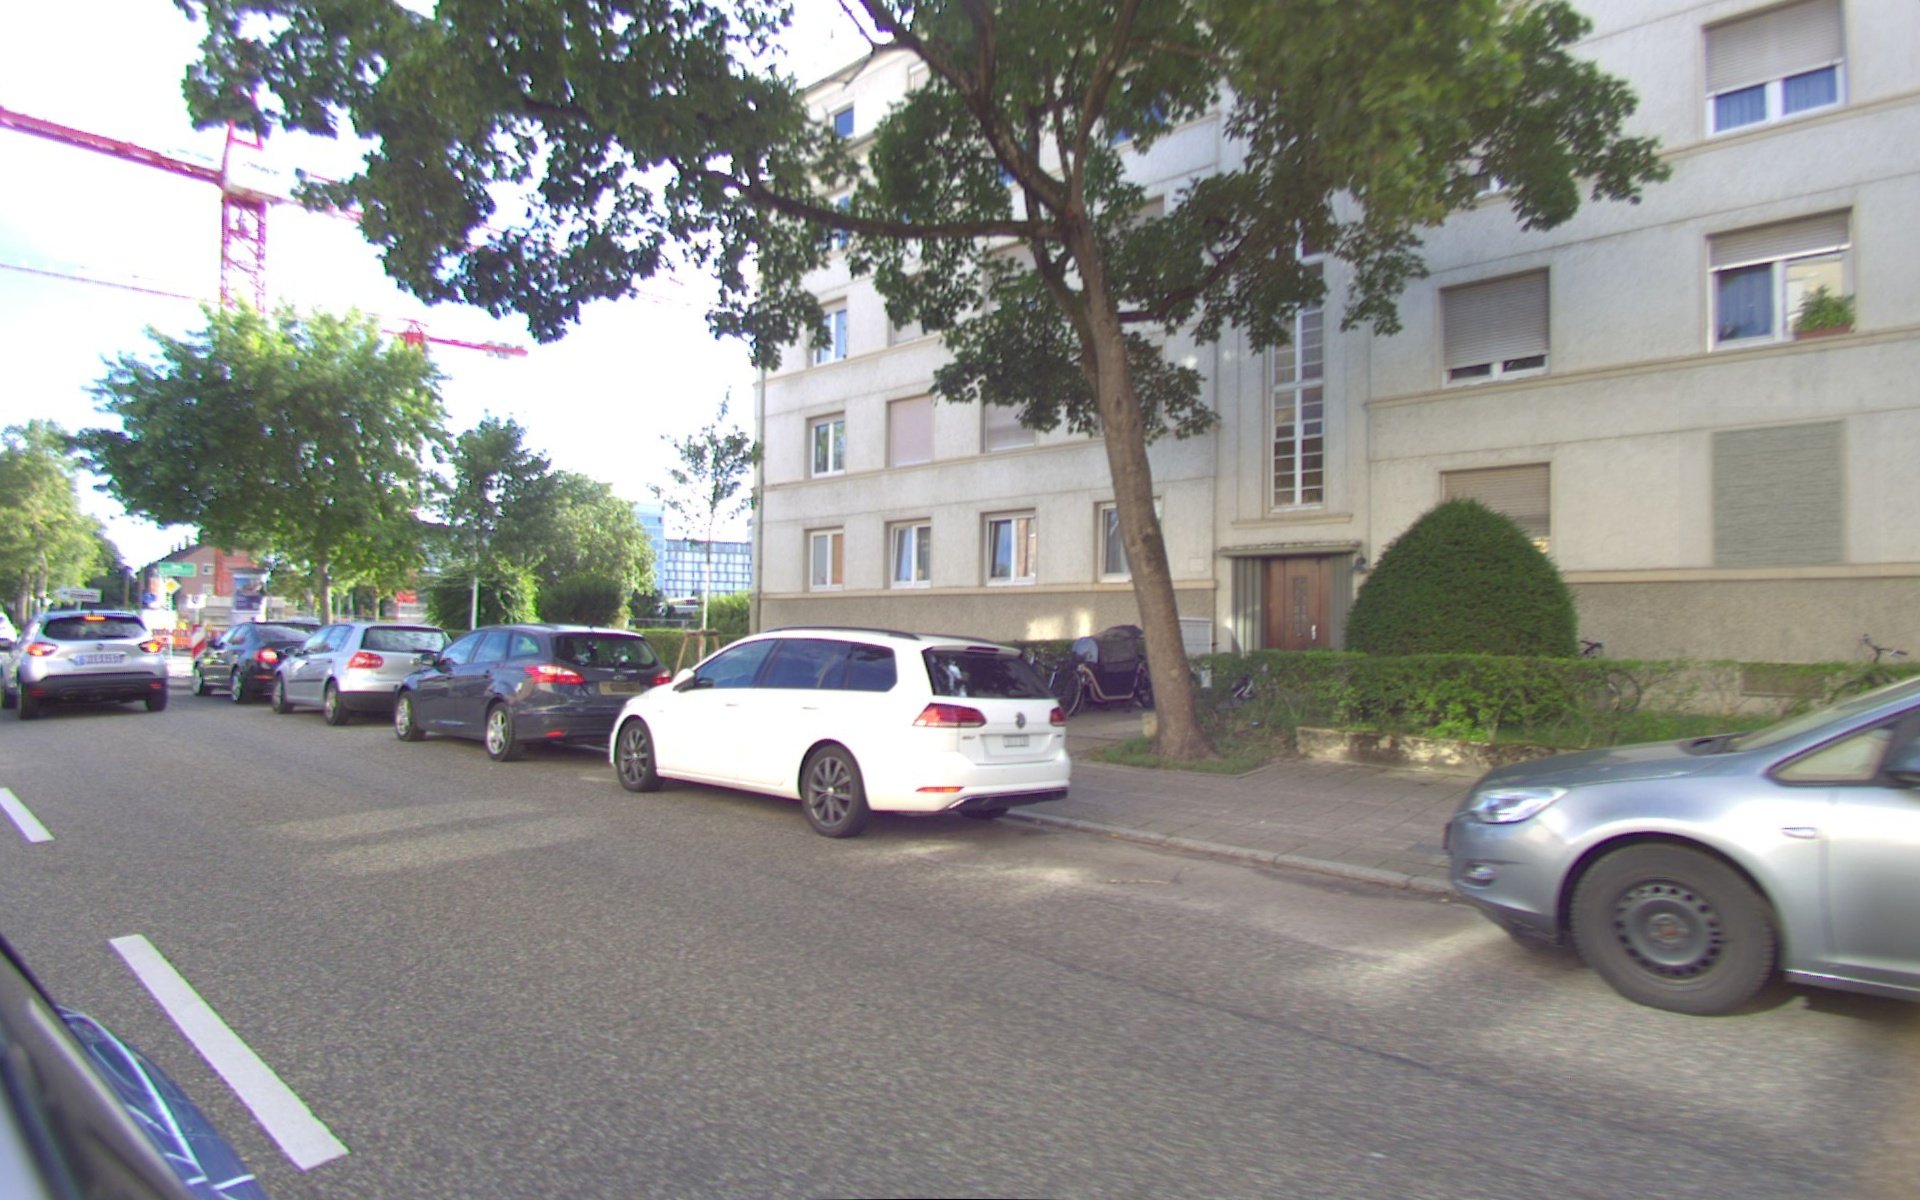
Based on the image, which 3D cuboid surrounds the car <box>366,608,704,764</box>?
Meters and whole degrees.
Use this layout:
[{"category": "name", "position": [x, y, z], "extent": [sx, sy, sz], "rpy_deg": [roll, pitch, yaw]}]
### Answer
[{"category": "car", "position": [-5.170, 0.898, 11.976], "extent": [4.682, 1.497, 1.835], "rpy_deg": [-1, -3, 42]}]

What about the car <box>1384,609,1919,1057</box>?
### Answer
[{"category": "car", "position": [4.268, 0.812, 3.720], "extent": [4.680, 1.497, 1.836], "rpy_deg": [-1, -4, 40]}]

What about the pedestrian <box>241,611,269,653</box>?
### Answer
[{"category": "pedestrian", "position": [-30.025, 1.375, 43.114], "extent": [0.775, 1.782, 0.734], "rpy_deg": [-1, -4, 41]}]

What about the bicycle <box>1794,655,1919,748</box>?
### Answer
[{"category": "bicycle", "position": [11.614, 1.247, 12.486], "extent": [2.022, 1.068, 0.627], "rpy_deg": [-1, -2, 41]}]

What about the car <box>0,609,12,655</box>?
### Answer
[{"category": "car", "position": [-37.412, 1.206, 38.344], "extent": [4.083, 1.682, 1.810], "rpy_deg": [-1, -2, 42]}]

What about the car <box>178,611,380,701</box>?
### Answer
[{"category": "car", "position": [-12.795, 1.021, 18.918], "extent": [4.417, 1.497, 1.907], "rpy_deg": [-1, -5, 40]}]

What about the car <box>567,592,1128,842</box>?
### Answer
[{"category": "car", "position": [-1.169, 0.823, 8.372], "extent": [4.797, 1.497, 1.835], "rpy_deg": [-1, -6, 42]}]

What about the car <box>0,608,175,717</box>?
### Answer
[{"category": "car", "position": [-13.989, 0.894, 16.033], "extent": [4.008, 1.513, 1.722], "rpy_deg": [-1, -1, 41]}]

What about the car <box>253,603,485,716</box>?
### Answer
[{"category": "car", "position": [-9.202, 0.890, 15.604], "extent": [4.368, 1.497, 1.801], "rpy_deg": [-1, -5, 42]}]
